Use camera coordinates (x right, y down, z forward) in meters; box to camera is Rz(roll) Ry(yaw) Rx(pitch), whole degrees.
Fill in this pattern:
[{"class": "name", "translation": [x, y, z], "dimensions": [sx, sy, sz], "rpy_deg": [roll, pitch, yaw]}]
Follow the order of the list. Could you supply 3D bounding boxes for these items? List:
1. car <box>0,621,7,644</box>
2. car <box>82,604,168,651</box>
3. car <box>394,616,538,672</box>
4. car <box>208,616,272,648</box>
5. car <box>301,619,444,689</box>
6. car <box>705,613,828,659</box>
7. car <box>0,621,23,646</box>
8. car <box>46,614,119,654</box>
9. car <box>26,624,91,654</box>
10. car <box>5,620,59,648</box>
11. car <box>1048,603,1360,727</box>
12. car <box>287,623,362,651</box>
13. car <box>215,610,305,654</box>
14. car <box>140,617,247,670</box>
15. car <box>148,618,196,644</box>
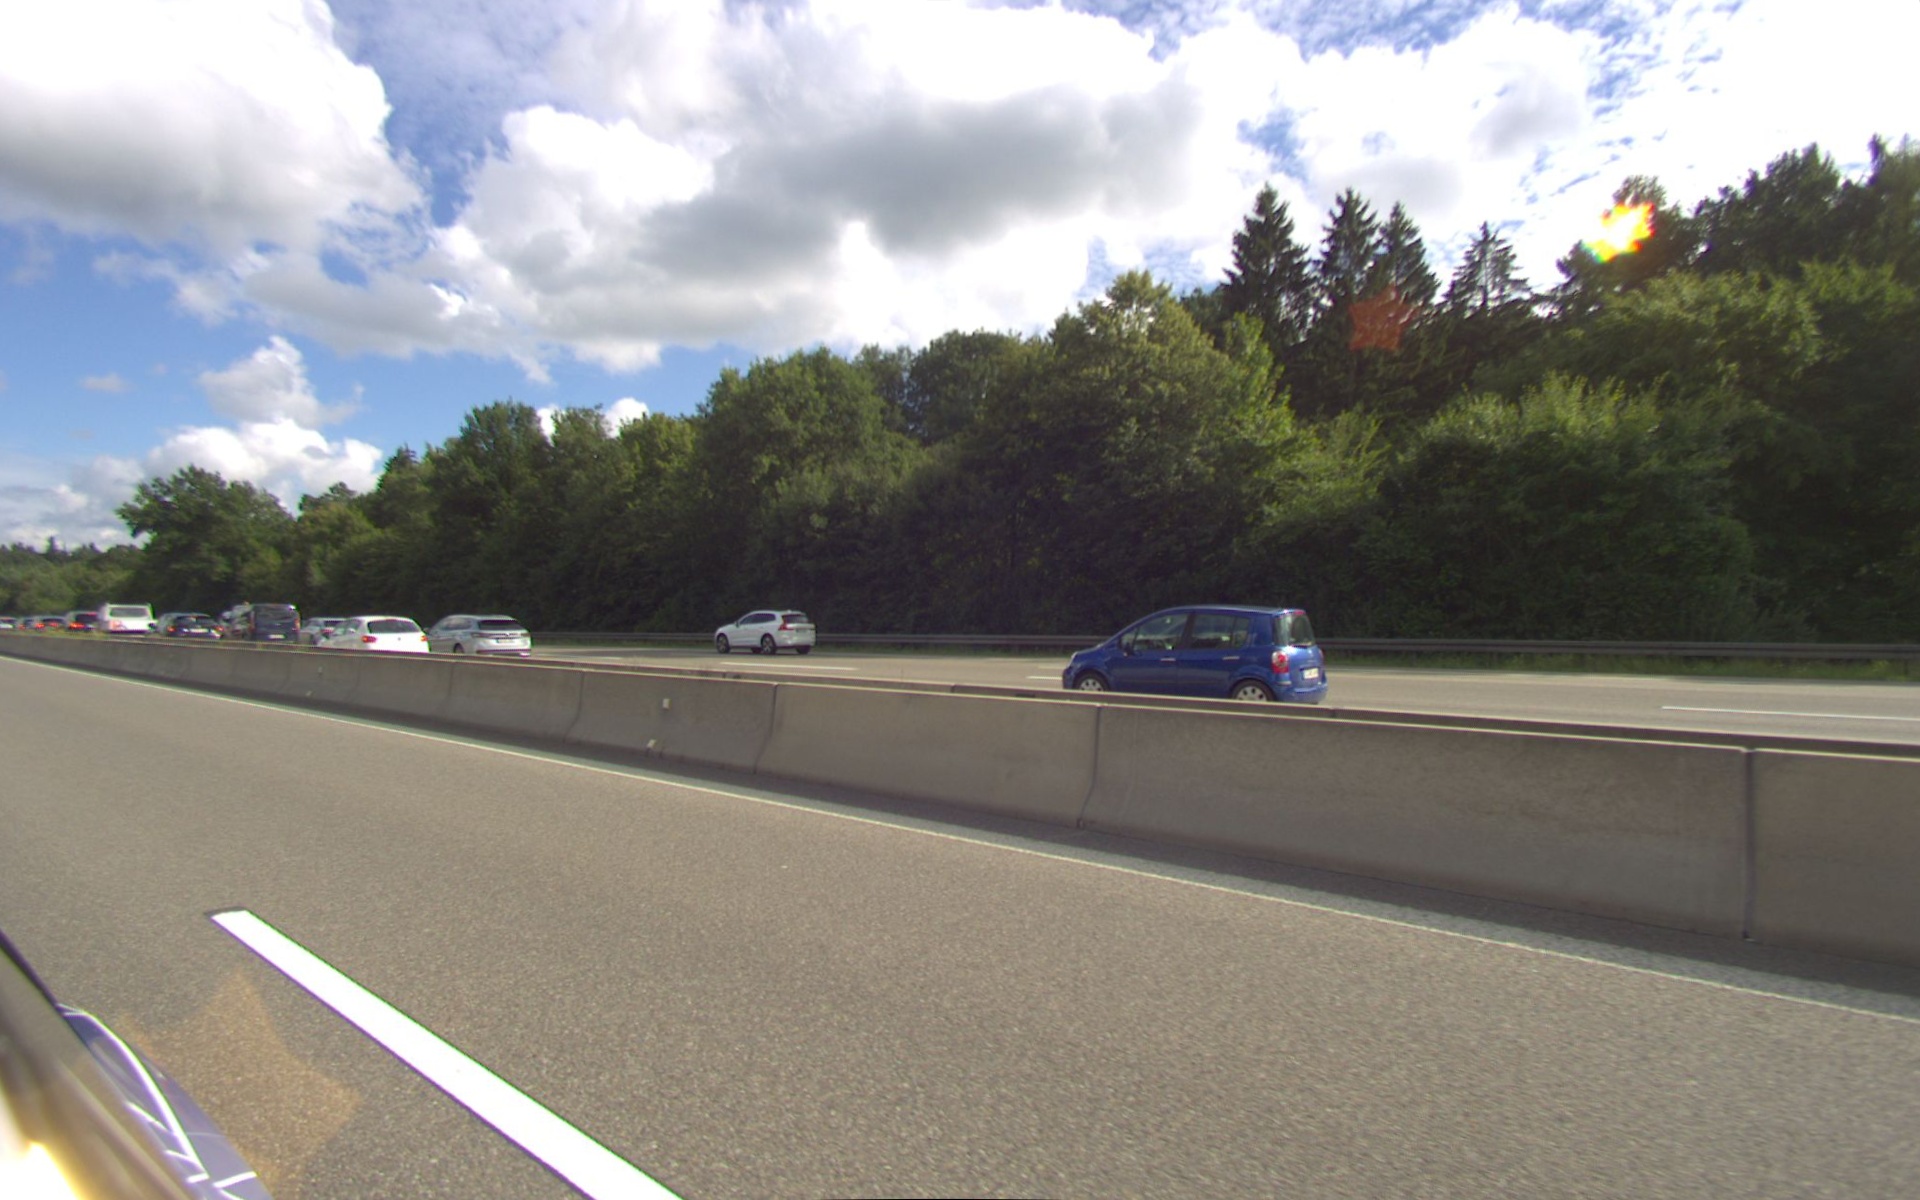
[{"class": "car", "translation": [-70.507, 2.370, 73.386], "dimensions": [3.998, 1.630, 1.644], "rpy_deg": [-1, -1, 41]}, {"class": "car", "translation": [-38.546, 1.286, 46.665], "dimensions": [5.820, 2.029, 2.136], "rpy_deg": [-1, -2, 41]}, {"class": "car", "translation": [-14.586, 1.238, 29.761], "dimensions": [5.129, 1.496, 1.973], "rpy_deg": [-1, -1, 41]}, {"class": "car", "translation": [-43.331, 1.899, 60.825], "dimensions": [5.339, 1.865, 1.930], "rpy_deg": [-1, -1, 41]}, {"class": "car", "translation": [-15.151, 1.344, 26.002], "dimensions": [4.239, 1.653, 1.893], "rpy_deg": [-1, -2, 41]}, {"class": "car", "translation": [-7.530, 1.375, 39.175], "dimensions": [4.873, 1.649, 2.148], "rpy_deg": [-1, -2, 41]}, {"class": "car", "translation": [-64.723, 2.229, 68.299], "dimensions": [4.547, 1.630, 1.724], "rpy_deg": [-1, -1, 41]}, {"class": "car", "translation": [-46.058, 1.765, 53.059], "dimensions": [5.393, 1.962, 2.149], "rpy_deg": [-1, -1, 41]}, {"class": "car", "translation": [-51.029, 2.193, 57.261], "dimensions": [4.547, 1.630, 2.148], "rpy_deg": [-1, -2, 41]}, {"class": "car", "translation": [-57.659, 2.079, 62.849], "dimensions": [4.547, 1.630, 1.973], "rpy_deg": [-1, -1, 41]}, {"class": "car", "translation": [3.340, 0.836, 14.300], "dimensions": [3.998, 1.523, 1.612], "rpy_deg": [-1, -1, 41]}, {"class": "car", "translation": [-30.809, 1.787, 49.008], "dimensions": [4.547, 1.312, 1.845], "rpy_deg": [-1, -2, 41]}, {"class": "car", "translation": [-30.231, 1.360, 43.654], "dimensions": [5.123, 1.819, 1.973], "rpy_deg": [-1, -1, 41]}, {"class": "car", "translation": [-27.936, 1.535, 36.851], "dimensions": [4.873, 1.815, 2.149], "rpy_deg": [-1, -1, 41]}, {"class": "car", "translation": [-55.732, 2.197, 71.567], "dimensions": [4.547, 1.813, 1.827], "rpy_deg": [-1, -2, 41]}]
